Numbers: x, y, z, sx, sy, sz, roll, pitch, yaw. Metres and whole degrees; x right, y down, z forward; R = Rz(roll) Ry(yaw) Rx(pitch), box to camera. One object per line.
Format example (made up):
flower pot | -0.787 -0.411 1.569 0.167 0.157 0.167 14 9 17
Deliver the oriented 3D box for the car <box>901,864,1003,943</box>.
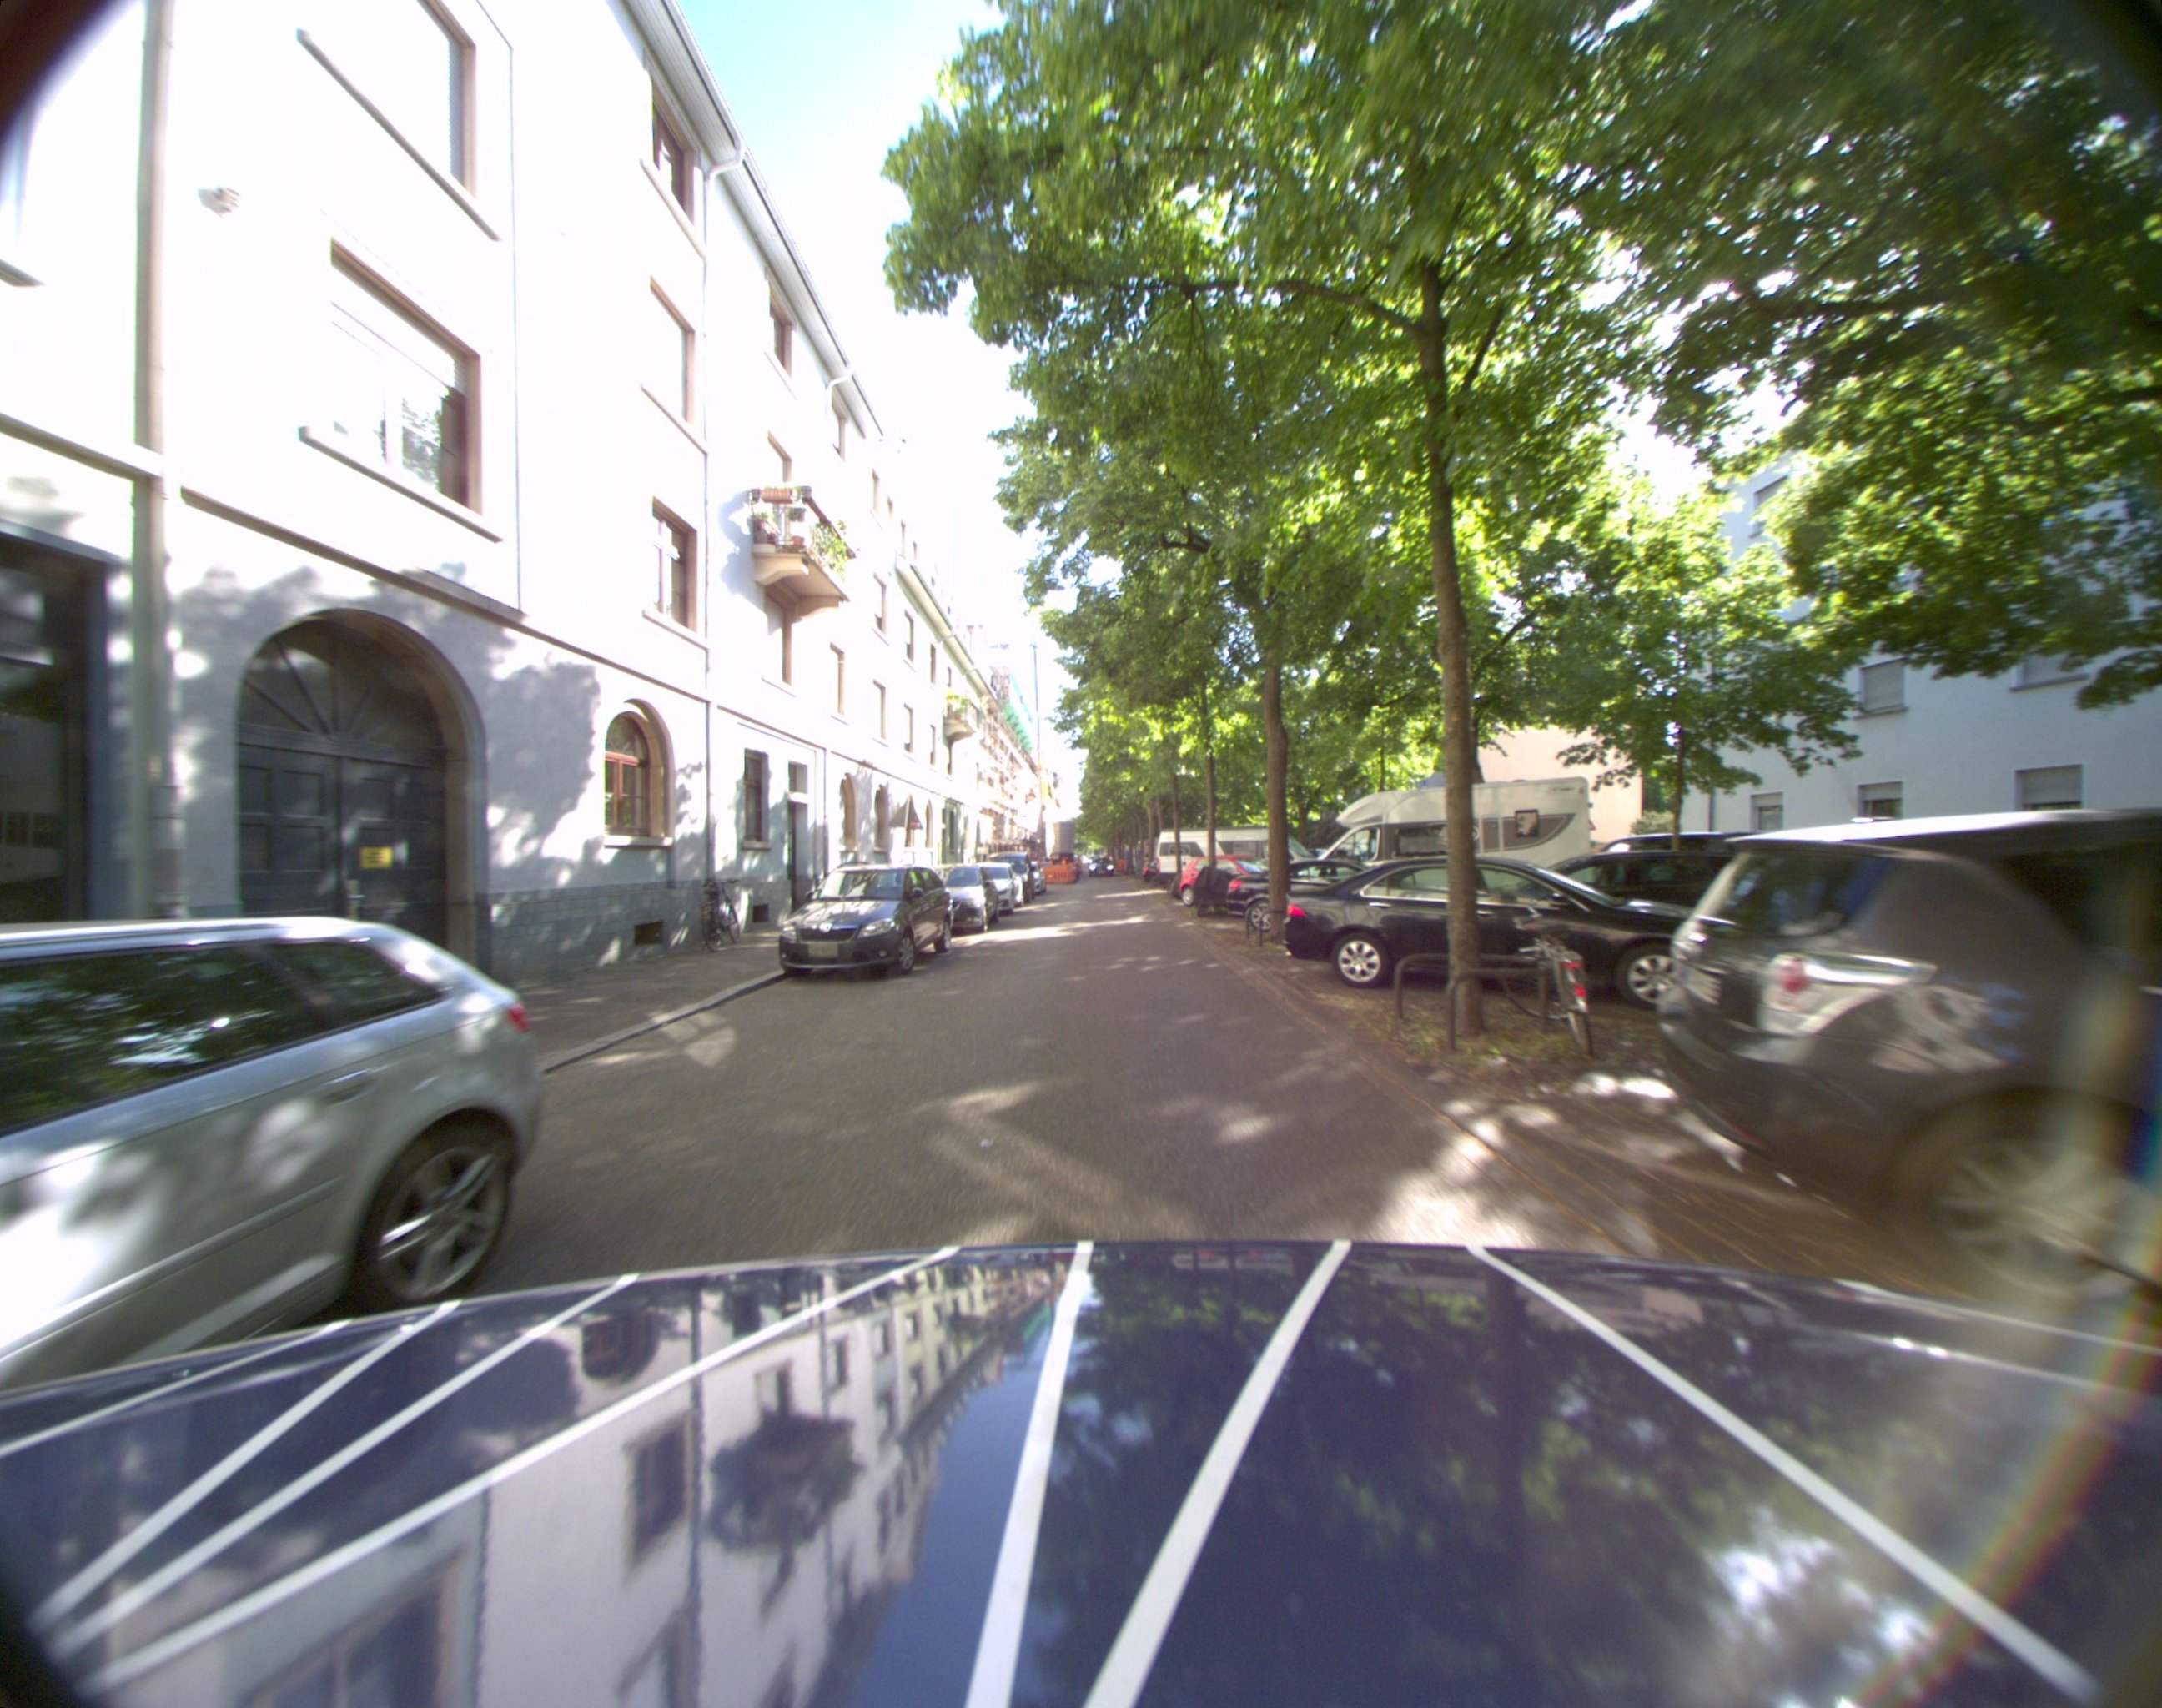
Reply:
car | -2.714 0.996 16.752 1.603 1.484 3.966 0 0 0

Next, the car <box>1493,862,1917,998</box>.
car | 7.857 0.890 10.104 3.990 1.477 1.833 -1 1 22

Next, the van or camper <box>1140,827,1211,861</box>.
van or camper | 8.703 -0.890 70.205 6.016 2.984 2.404 1 0 30

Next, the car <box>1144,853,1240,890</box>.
car | 5.217 0.843 35.881 4.090 1.516 1.705 -4 -2 31

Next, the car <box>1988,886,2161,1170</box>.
car | 7.720 0.908 3.521 4.187 1.383 1.822 -1 0 34

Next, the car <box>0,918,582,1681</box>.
car | -3.122 0.995 1.179 1.774 1.423 4.291 -1 0 1

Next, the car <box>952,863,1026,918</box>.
car | -2.615 0.999 22.498 1.611 1.412 4.568 0 0 0

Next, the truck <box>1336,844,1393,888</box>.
truck | 16.444 0.670 44.305 1.926 2.395 4.265 1 0 3

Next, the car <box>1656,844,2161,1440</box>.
car | 4.509 0.779 2.364 4.079 1.643 1.866 -1 0 28

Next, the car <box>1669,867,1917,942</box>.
car | 15.921 1.057 17.339 1.754 1.427 4.081 2 0 -1

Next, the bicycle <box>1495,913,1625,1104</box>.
bicycle | 3.610 1.079 5.845 0.428 1.124 1.681 0 0 17

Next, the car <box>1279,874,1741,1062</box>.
car | 4.387 1.002 8.213 4.008 1.465 1.630 1 0 36

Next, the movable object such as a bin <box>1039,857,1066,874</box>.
movable object such as a bin | -2.626 1.038 70.123 1.872 1.518 1.631 1 0 35

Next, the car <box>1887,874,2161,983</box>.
car | 15.774 1.080 11.902 1.648 1.391 4.304 -2 0 -1

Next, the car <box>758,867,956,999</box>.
car | -3.051 1.000 11.251 1.584 1.541 4.042 -1 0 2

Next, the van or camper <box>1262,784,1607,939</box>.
van or camper | 7.374 0.192 16.371 6.290 2.808 2.412 -1 0 30

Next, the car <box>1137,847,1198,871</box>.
car | 9.347 0.528 82.607 6.185 2.496 2.143 1 0 28

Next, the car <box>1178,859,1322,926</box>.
car | 4.525 0.969 20.870 1.667 1.608 3.871 1 0 -31

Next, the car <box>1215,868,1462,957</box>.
car | 4.833 1.002 14.455 4.145 1.417 1.718 0 1 33

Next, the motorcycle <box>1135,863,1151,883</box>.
motorcycle | 4.241 1.280 51.744 0.631 1.317 2.231 -1 0 16

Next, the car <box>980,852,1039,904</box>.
car | -2.558 0.827 27.856 1.776 1.783 3.990 0 0 0

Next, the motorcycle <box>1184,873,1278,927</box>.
motorcycle | 3.572 1.091 18.159 2.151 1.222 0.882 -1 0 10

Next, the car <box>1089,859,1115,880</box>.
car | 1.575 1.117 56.120 1.792 1.510 4.001 1 0 4

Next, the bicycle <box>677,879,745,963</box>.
bicycle | -5.864 1.023 12.132 0.408 1.179 1.847 -1 0 -8

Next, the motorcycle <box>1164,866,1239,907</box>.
motorcycle | 4.040 1.081 25.624 2.326 1.327 0.968 0 0 -8

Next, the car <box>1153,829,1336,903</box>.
car | 6.102 0.440 28.802 6.310 2.544 2.343 -1 1 33

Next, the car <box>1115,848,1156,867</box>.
car | 6.265 0.427 88.114 4.386 2.155 1.774 1 0 28

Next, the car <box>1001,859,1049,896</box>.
car | -2.391 0.993 33.532 1.709 1.502 4.284 0 0 1
